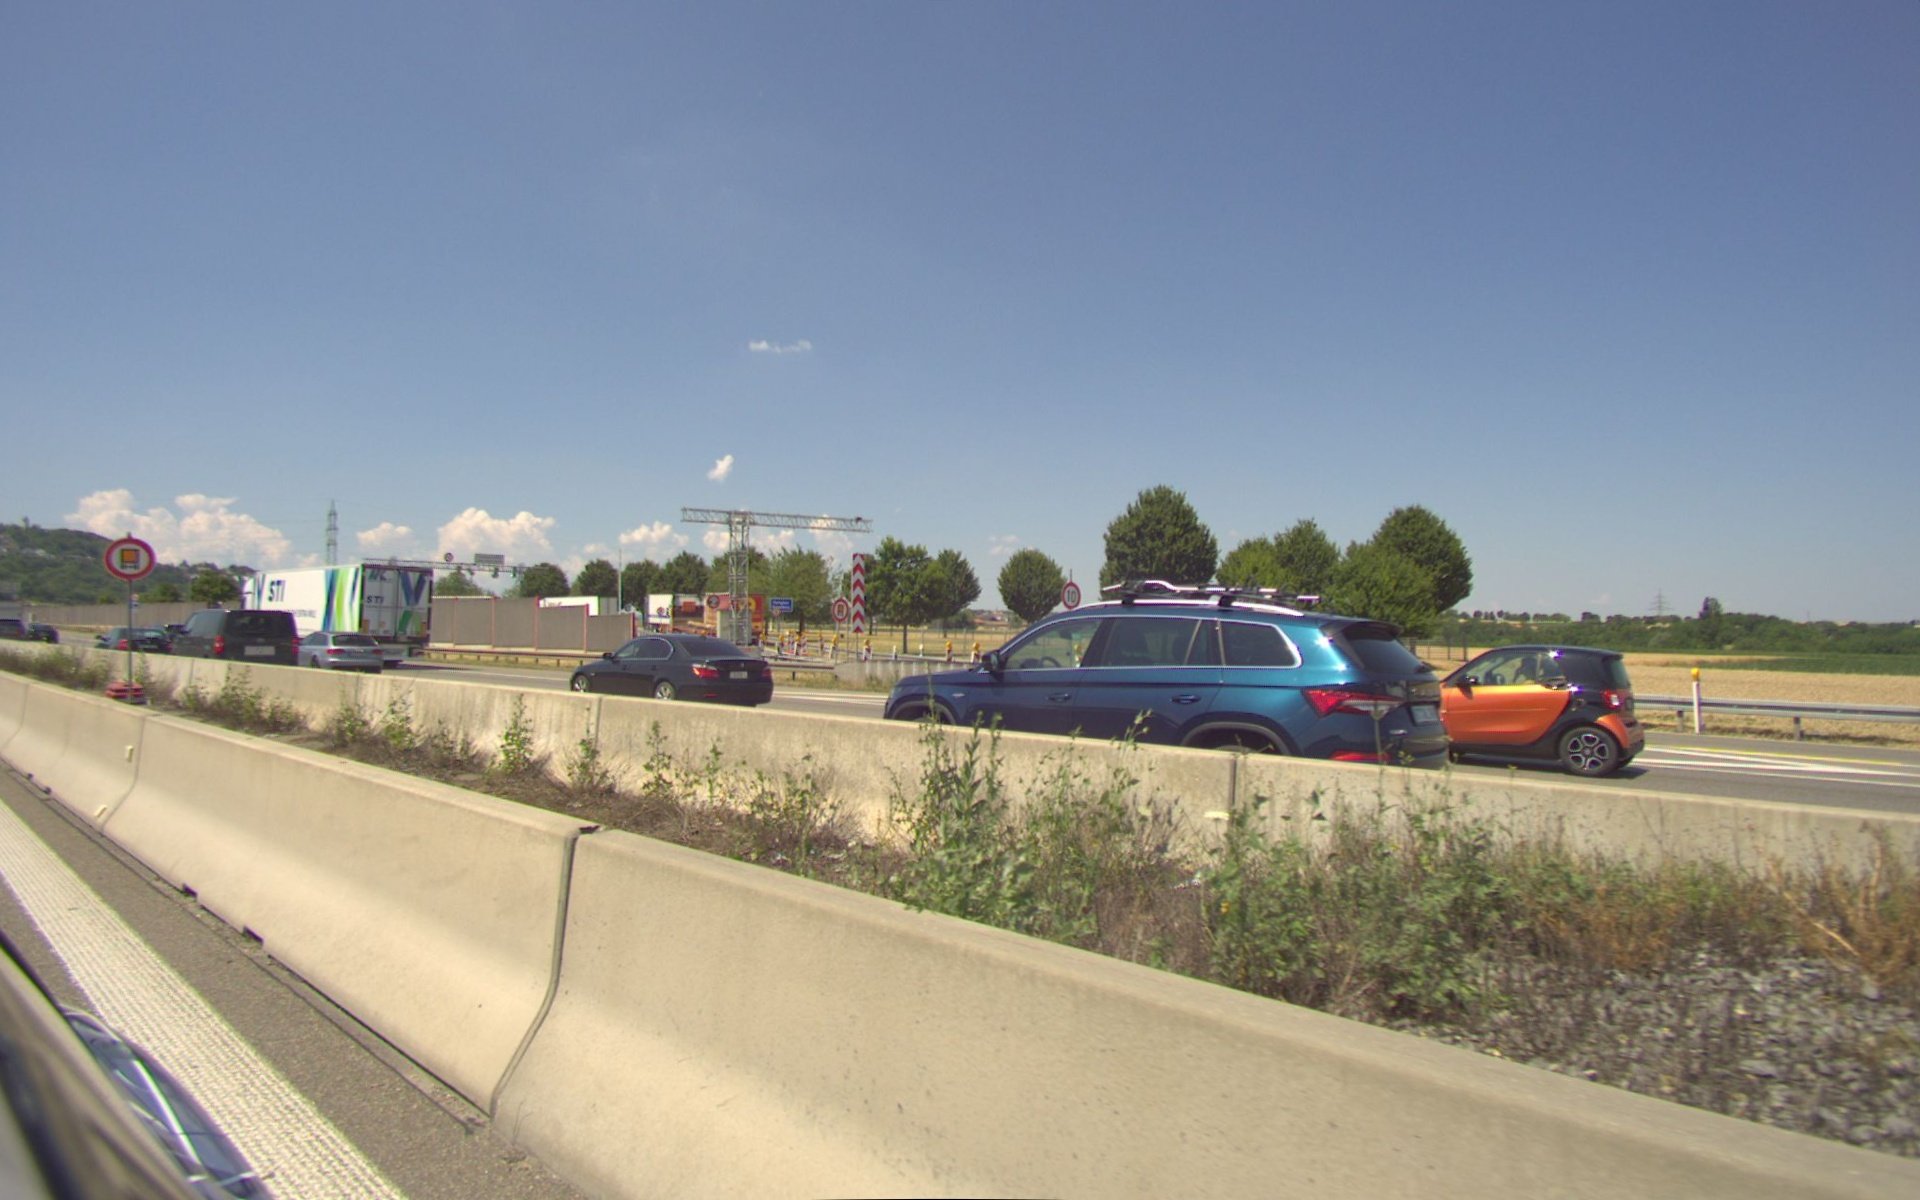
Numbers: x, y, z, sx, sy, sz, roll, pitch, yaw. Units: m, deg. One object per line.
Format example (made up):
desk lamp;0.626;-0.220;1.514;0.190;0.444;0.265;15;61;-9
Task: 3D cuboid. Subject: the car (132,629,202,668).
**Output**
car;-35.803;2.148;45.656;4.663;1.664;1.638;-2;-2;42

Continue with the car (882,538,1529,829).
car;1.607;0.521;7.768;4.539;1.602;1.763;-2;-2;42

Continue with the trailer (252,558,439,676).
trailer;-26.467;0.828;43.119;12.987;4.408;2.862;-1;-4;41

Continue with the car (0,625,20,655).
car;-55.456;2.270;57.983;4.818;1.629;1.870;-1;-2;41

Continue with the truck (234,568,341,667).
truck;-31.827;0.890;47.875;4.900;4.408;2.840;-1;-4;41

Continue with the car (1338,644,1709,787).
car;7.105;1.364;13.011;3.936;1.527;1.546;-2;-4;42

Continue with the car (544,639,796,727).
car;-5.427;1.416;18.556;5.082;1.397;1.993;-2;-3;41

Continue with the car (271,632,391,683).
car;-19.974;1.796;32.035;4.920;1.494;1.827;-2;-5;42

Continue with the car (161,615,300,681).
car;-19.161;1.212;26.494;5.342;1.581;1.824;-2;-2;42

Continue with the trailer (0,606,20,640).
trailer;-112.602;2.692;118.778;6.614;3.903;2.620;-1;-3;41

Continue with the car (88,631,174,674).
car;-28.666;1.771;34.968;4.265;1.362;1.638;-2;-2;42

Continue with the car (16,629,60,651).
car;-66.877;2.850;73.385;4.961;1.497;1.793;-1;-1;41
